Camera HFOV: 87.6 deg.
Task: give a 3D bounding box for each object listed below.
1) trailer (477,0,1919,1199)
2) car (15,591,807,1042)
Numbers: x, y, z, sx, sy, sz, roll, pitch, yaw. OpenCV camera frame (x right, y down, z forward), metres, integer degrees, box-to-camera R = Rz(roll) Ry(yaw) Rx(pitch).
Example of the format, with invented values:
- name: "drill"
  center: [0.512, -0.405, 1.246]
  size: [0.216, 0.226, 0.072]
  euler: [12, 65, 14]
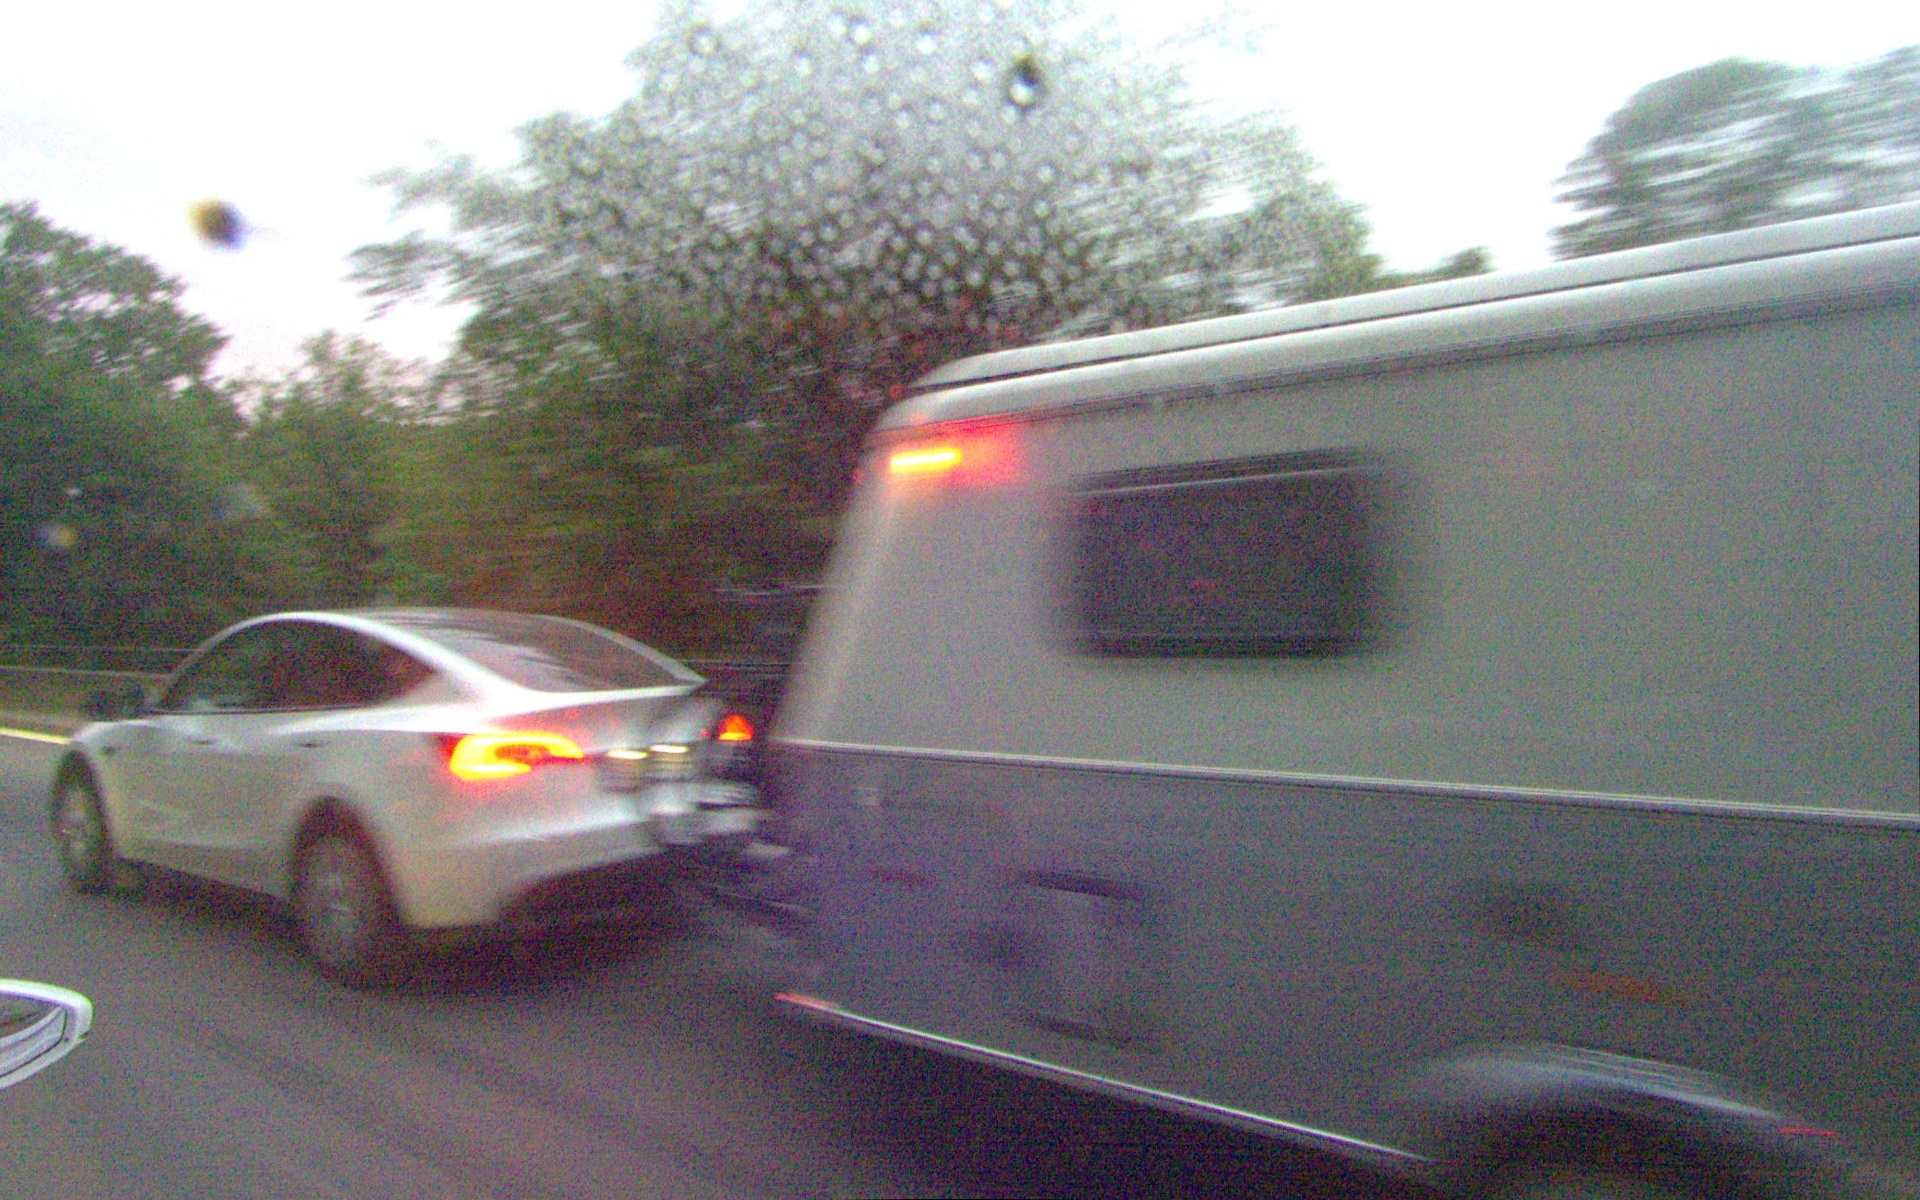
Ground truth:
- name: "trailer"
  center: [1.337, 0.356, 2.752]
  size: [5.855, 2.404, 2.051]
  euler: [-1, -3, 34]
- name: "car"
  center: [-3.359, 0.864, 5.805]
  size: [4.796, 1.635, 1.990]
  euler: [-1, -2, 33]
